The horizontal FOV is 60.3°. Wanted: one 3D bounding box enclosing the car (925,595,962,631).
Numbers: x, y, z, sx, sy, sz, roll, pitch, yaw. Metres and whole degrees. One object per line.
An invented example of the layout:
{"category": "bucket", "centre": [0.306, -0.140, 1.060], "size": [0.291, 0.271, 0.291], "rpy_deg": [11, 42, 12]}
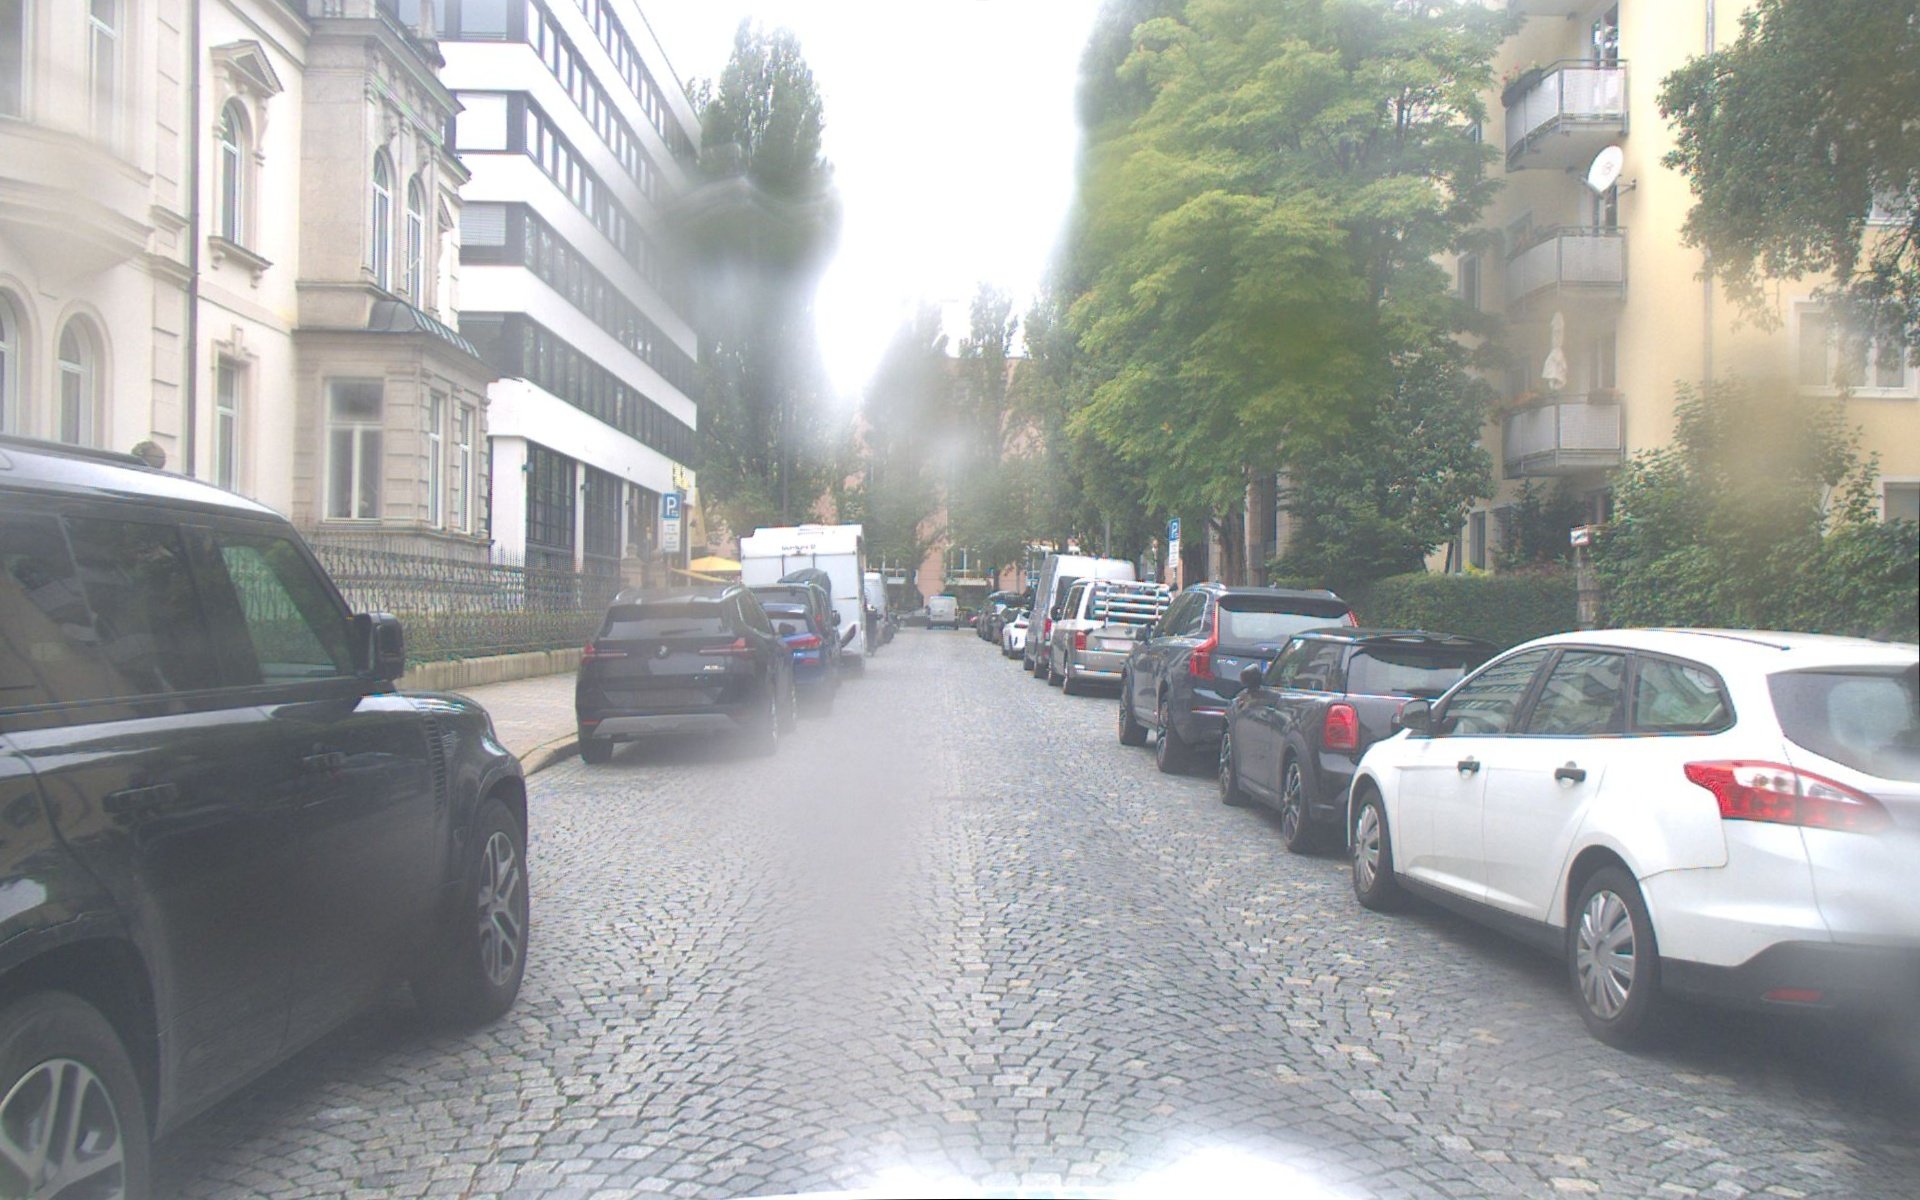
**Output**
{"category": "car", "centre": [-0.922, 0.760, 93.378], "size": [1.955, 1.970, 4.000], "rpy_deg": [1, -1, 0]}

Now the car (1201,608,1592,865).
{"category": "car", "centre": [2.941, 0.854, 12.017], "size": [1.649, 1.478, 3.964], "rpy_deg": [3, -1, -2]}

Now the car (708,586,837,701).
{"category": "car", "centre": [-3.058, 0.687, 27.733], "size": [1.856, 1.781, 4.166], "rpy_deg": [0, 0, -3]}

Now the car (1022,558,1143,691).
{"category": "car", "centre": [2.519, 0.482, 35.374], "size": [1.857, 2.468, 5.609], "rpy_deg": [5, 0, -2]}

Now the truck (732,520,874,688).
{"category": "truck", "centre": [-3.078, 0.065, 33.903], "size": [2.458, 3.085, 6.382], "rpy_deg": [-1, 0, -2]}

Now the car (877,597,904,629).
{"category": "car", "centre": [-3.500, 0.671, 83.518], "size": [1.264, 1.567, 3.118], "rpy_deg": [1, -1, -1]}

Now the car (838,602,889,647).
{"category": "car", "centre": [-3.419, 0.869, 58.831], "size": [1.628, 1.481, 3.546], "rpy_deg": [1, -1, -1]}

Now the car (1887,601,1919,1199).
{"category": "car", "centre": [3.119, 0.783, 1.754], "size": [1.675, 1.508, 4.246], "rpy_deg": [3, -1, -3]}

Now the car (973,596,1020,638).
{"category": "car", "centre": [1.448, 0.698, 66.569], "size": [1.829, 1.633, 3.272], "rpy_deg": [1, -1, 0]}

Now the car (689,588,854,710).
{"category": "car", "centre": [-2.483, 0.642, 22.728], "size": [1.901, 1.485, 4.056], "rpy_deg": [1, -1, -2]}

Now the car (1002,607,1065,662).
{"category": "car", "centre": [2.090, 0.984, 47.926], "size": [1.567, 1.512, 3.478], "rpy_deg": [1, -1, -2]}

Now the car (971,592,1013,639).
{"category": "car", "centre": [1.412, 0.705, 74.494], "size": [1.829, 1.995, 4.000], "rpy_deg": [1, -1, 0]}

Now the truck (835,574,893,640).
{"category": "truck", "centre": [-3.609, 0.272, 62.847], "size": [1.953, 2.388, 4.067], "rpy_deg": [1, -1, -1]}

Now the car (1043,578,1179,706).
{"category": "car", "centre": [2.608, 0.721, 29.686], "size": [1.764, 1.983, 4.858], "rpy_deg": [4, -1, -2]}

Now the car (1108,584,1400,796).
{"category": "car", "centre": [2.766, 0.811, 16.747], "size": [1.923, 1.790, 4.952], "rpy_deg": [1, -1, -2]}

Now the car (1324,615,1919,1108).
{"category": "car", "centre": [3.084, 0.820, 7.156], "size": [1.739, 1.454, 4.386], "rpy_deg": [1, -1, -4]}

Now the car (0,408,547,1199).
{"category": "car", "centre": [-2.617, 0.535, 4.138], "size": [1.942, 1.768, 4.722], "rpy_deg": [1, 0, 0]}

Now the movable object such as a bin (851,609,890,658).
{"category": "movable object such as a bin", "centre": [-2.566, 0.962, 47.618], "size": [1.042, 1.387, 1.289], "rpy_deg": [1, -1, -1]}

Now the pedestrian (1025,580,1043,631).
{"category": "pedestrian", "centre": [3.678, 0.273, 82.271], "size": [0.697, 2.467, 0.813], "rpy_deg": [-3, 2, 0]}

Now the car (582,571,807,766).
{"category": "car", "centre": [-2.629, 0.656, 17.357], "size": [1.738, 1.748, 4.389], "rpy_deg": [1, -1, -2]}

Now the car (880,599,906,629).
{"category": "car", "centre": [-3.567, 0.743, 88.532], "size": [1.251, 1.568, 3.118], "rpy_deg": [1, -1, -1]}
